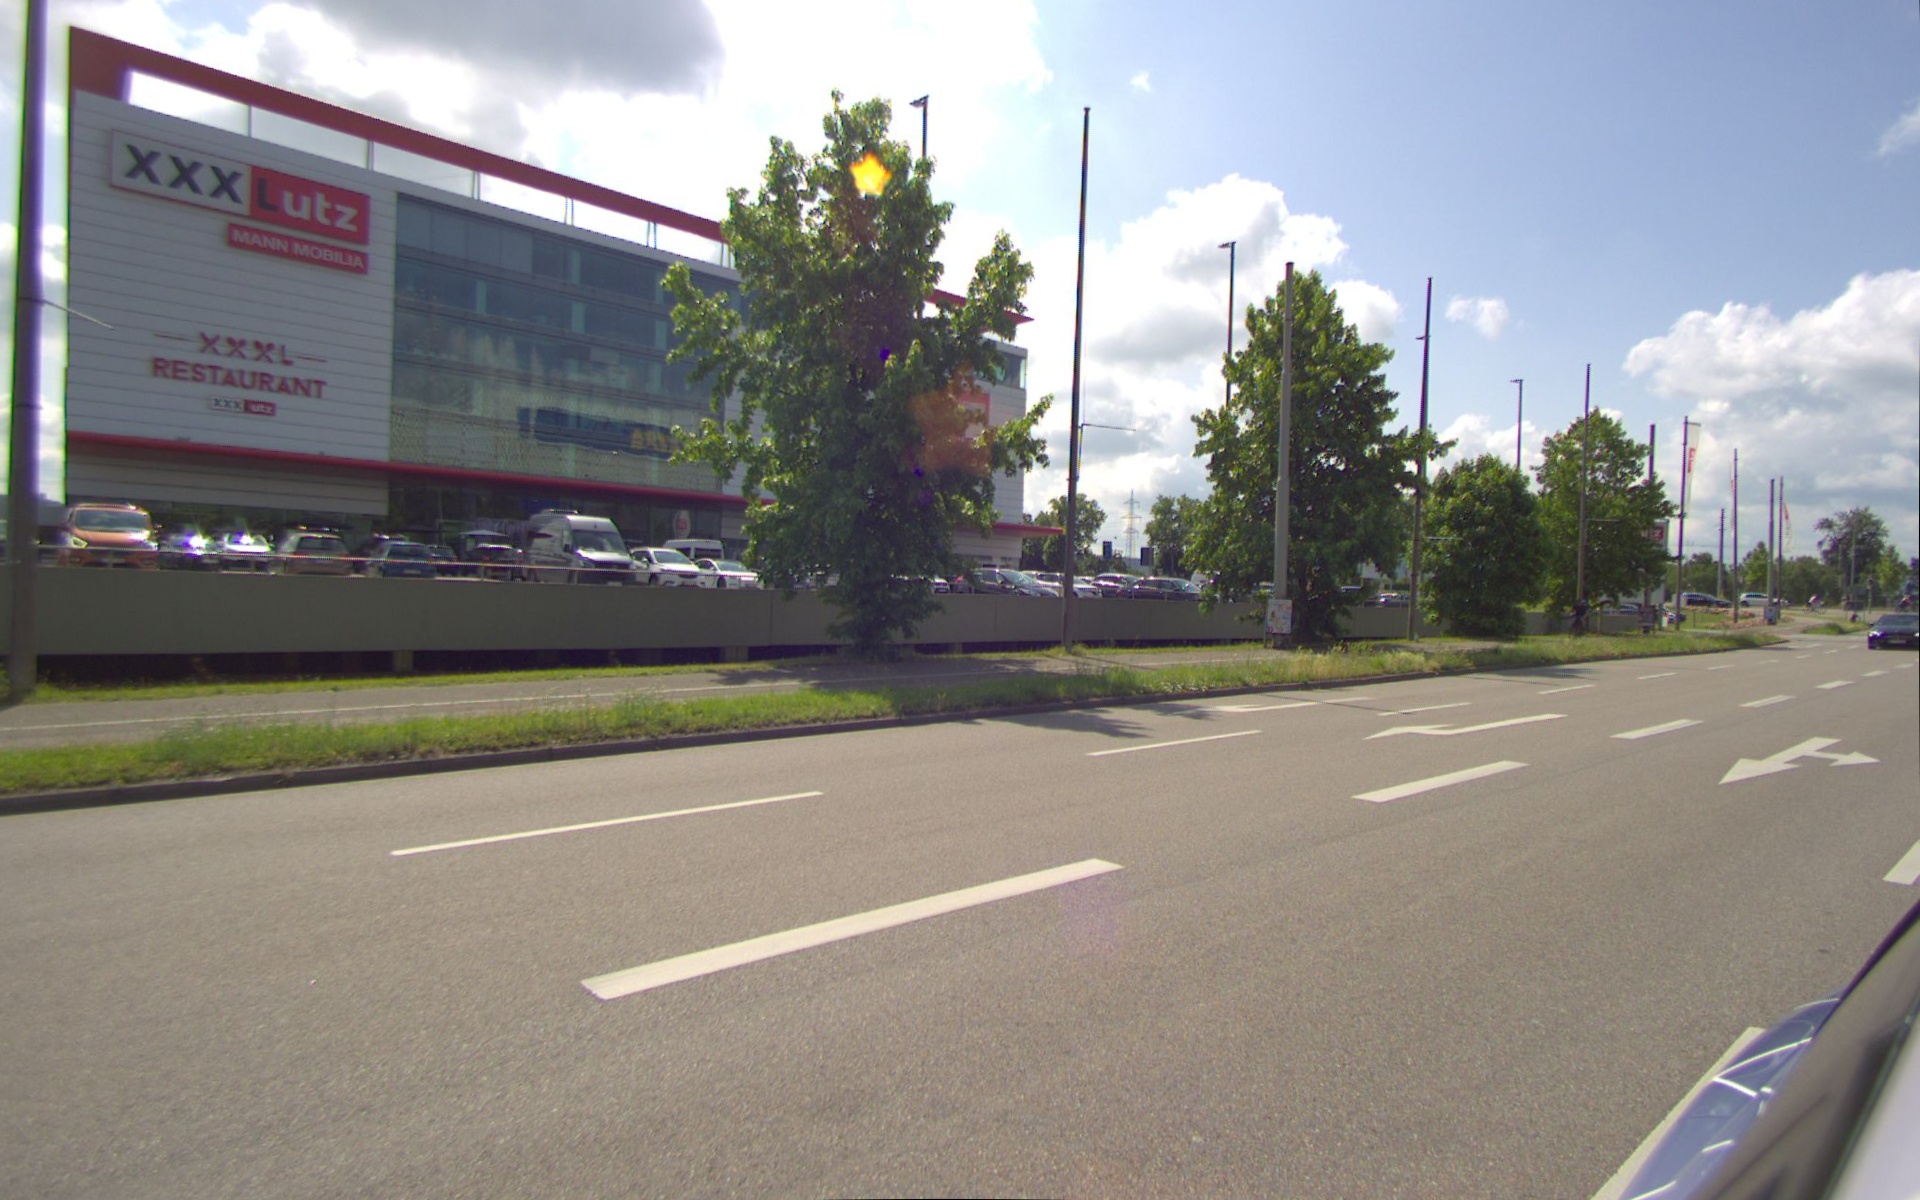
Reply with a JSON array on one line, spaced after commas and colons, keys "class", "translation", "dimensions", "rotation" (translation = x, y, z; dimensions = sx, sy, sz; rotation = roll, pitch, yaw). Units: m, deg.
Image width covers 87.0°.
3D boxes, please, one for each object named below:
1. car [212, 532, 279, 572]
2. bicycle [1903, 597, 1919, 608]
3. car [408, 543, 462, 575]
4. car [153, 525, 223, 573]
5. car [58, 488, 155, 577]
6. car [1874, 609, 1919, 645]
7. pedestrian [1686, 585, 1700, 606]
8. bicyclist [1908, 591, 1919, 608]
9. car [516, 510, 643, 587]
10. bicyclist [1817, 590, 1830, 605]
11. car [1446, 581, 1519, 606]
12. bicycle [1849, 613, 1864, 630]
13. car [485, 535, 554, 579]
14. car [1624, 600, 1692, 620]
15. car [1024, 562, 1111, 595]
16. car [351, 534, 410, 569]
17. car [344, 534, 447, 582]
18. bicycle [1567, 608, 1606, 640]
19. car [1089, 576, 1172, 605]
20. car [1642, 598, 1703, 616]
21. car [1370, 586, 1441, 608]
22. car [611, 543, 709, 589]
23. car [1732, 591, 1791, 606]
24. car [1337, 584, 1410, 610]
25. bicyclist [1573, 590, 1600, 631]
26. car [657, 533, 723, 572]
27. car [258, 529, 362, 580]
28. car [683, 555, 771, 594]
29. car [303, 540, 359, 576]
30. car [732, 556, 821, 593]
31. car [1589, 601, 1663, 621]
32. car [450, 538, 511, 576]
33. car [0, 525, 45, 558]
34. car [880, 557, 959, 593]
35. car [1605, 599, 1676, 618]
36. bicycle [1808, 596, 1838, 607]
[{"class": "car", "translation": [-30.821, -2.025, 43.602], "dimensions": [1.965, 1.563, 3.994], "rotation": [2, 0, -41]}, {"class": "bicycle", "translation": [85.523, 0.239, 90.489], "dimensions": [1.664, 0.973, 0.666], "rotation": [1, -1, 1]}, {"class": "car", "translation": [-25.338, -1.953, 48.791], "dimensions": [1.525, 1.387, 3.443], "rotation": [2, 0, -41]}, {"class": "car", "translation": [-28.472, -1.836, 37.278], "dimensions": [1.608, 1.595, 3.899], "rotation": [2, 0, -44]}, {"class": "car", "translation": [-24.512, -1.823, 28.994], "dimensions": [1.953, 2.223, 5.167], "rotation": [0, 0, -42]}, {"class": "car", "translation": [37.014, 1.026, 39.230], "dimensions": [4.088, 1.335, 1.796], "rotation": [0, 0, -40]}, {"class": "pedestrian", "translation": [69.095, -0.425, 95.411], "dimensions": [0.864, 1.786, 0.849], "rotation": [6, 1, 44]}, {"class": "bicyclist", "translation": [85.473, -0.028, 90.507], "dimensions": [0.729, 1.494, 0.651], "rotation": [1, -1, 2]}, {"class": "car", "translation": [-13.037, -1.664, 34.465], "dimensions": [2.027, 2.396, 5.664], "rotation": [0, 1, -43]}, {"class": "bicyclist", "translation": [78.959, -0.266, 92.533], "dimensions": [0.679, 1.342, 0.588], "rotation": [1, -1, 21]}, {"class": "car", "translation": [35.475, -0.455, 68.767], "dimensions": [1.666, 1.608, 4.020], "rotation": [2, 0, -43]}, {"class": "bicycle", "translation": [52.353, 1.238, 59.081], "dimensions": [1.518, 0.964, 0.517], "rotation": [0, 1, -43]}, {"class": "car", "translation": [-20.081, -1.910, 46.021], "dimensions": [1.744, 1.861, 3.891], "rotation": [2, 0, -41]}, {"class": "car", "translation": [57.700, 0.801, 83.738], "dimensions": [1.765, 1.458, 4.366], "rotation": [0, 1, -41]}, {"class": "car", "translation": [5.296, -1.050, 50.176], "dimensions": [1.967, 1.590, 3.990], "rotation": [0, 1, -44]}, {"class": "car", "translation": [-26.795, -2.204, 46.739], "dimensions": [1.606, 1.461, 3.903], "rotation": [2, 0, -41]}, {"class": "car", "translation": [-19.237, -1.360, 34.378], "dimensions": [1.954, 1.502, 4.872], "rotation": [0, 1, -43]}, {"class": "bicycle", "translation": [22.093, 0.833, 35.688], "dimensions": [1.934, 1.081, 0.624], "rotation": [1, 1, -42]}, {"class": "car", "translation": [8.913, -0.537, 53.174], "dimensions": [1.659, 1.341, 4.191], "rotation": [1, 2, -42]}, {"class": "car", "translation": [60.792, 0.602, 86.414], "dimensions": [1.687, 1.436, 3.991], "rotation": [0, 2, -43]}, {"class": "car", "translation": [32.471, -0.237, 73.893], "dimensions": [1.814, 1.379, 4.369], "rotation": [0, 2, -40]}, {"class": "car", "translation": [-10.653, -1.165, 35.779], "dimensions": [1.718, 1.533, 3.991], "rotation": [0, 1, -43]}, {"class": "car", "translation": [81.064, -0.155, 102.358], "dimensions": [1.981, 1.430, 4.486], "rotation": [0, 2, -45]}, {"class": "car", "translation": [27.012, -0.215, 66.231], "dimensions": [4.056, 1.550, 1.714], "rotation": [4, 3, 45]}, {"class": "bicyclist", "translation": [22.070, 0.372, 35.657], "dimensions": [0.702, 1.430, 0.616], "rotation": [1, 0, -41]}, {"class": "car", "translation": [-15.128, -2.625, 56.593], "dimensions": [1.965, 1.976, 3.993], "rotation": [2, 0, -41]}, {"class": "car", "translation": [-20.808, -1.395, 32.318], "dimensions": [1.954, 1.472, 4.872], "rotation": [0, 1, -43]}, {"class": "car", "translation": [-9.661, -1.079, 41.765], "dimensions": [1.696, 1.452, 4.190], "rotation": [2, 1, -42]}, {"class": "car", "translation": [-28.232, -1.855, 45.389], "dimensions": [1.557, 1.483, 3.531], "rotation": [2, 0, -41]}, {"class": "car", "translation": [-8.030, -1.122, 44.089], "dimensions": [1.860, 1.452, 4.190], "rotation": [2, 1, -42]}, {"class": "car", "translation": [50.396, 0.806, 76.613], "dimensions": [1.824, 1.495, 4.367], "rotation": [0, 0, -40]}, {"class": "car", "translation": [-23.704, -2.100, 49.966], "dimensions": [1.719, 1.727, 3.747], "rotation": [2, 0, -42]}, {"class": "car", "translation": [-39.445, -2.427, 42.334], "dimensions": [1.667, 1.199, 3.900], "rotation": [2, 0, -43]}, {"class": "car", "translation": [-2.098, -1.242, 51.400], "dimensions": [1.965, 1.742, 3.994], "rotation": [2, 0, -41]}, {"class": "car", "translation": [53.679, 0.631, 79.874], "dimensions": [1.824, 1.434, 4.365], "rotation": [0, 0, -41]}, {"class": "bicycle", "translation": [78.930, 0.151, 92.535], "dimensions": [1.964, 0.973, 0.592], "rotation": [1, -1, 22]}]
